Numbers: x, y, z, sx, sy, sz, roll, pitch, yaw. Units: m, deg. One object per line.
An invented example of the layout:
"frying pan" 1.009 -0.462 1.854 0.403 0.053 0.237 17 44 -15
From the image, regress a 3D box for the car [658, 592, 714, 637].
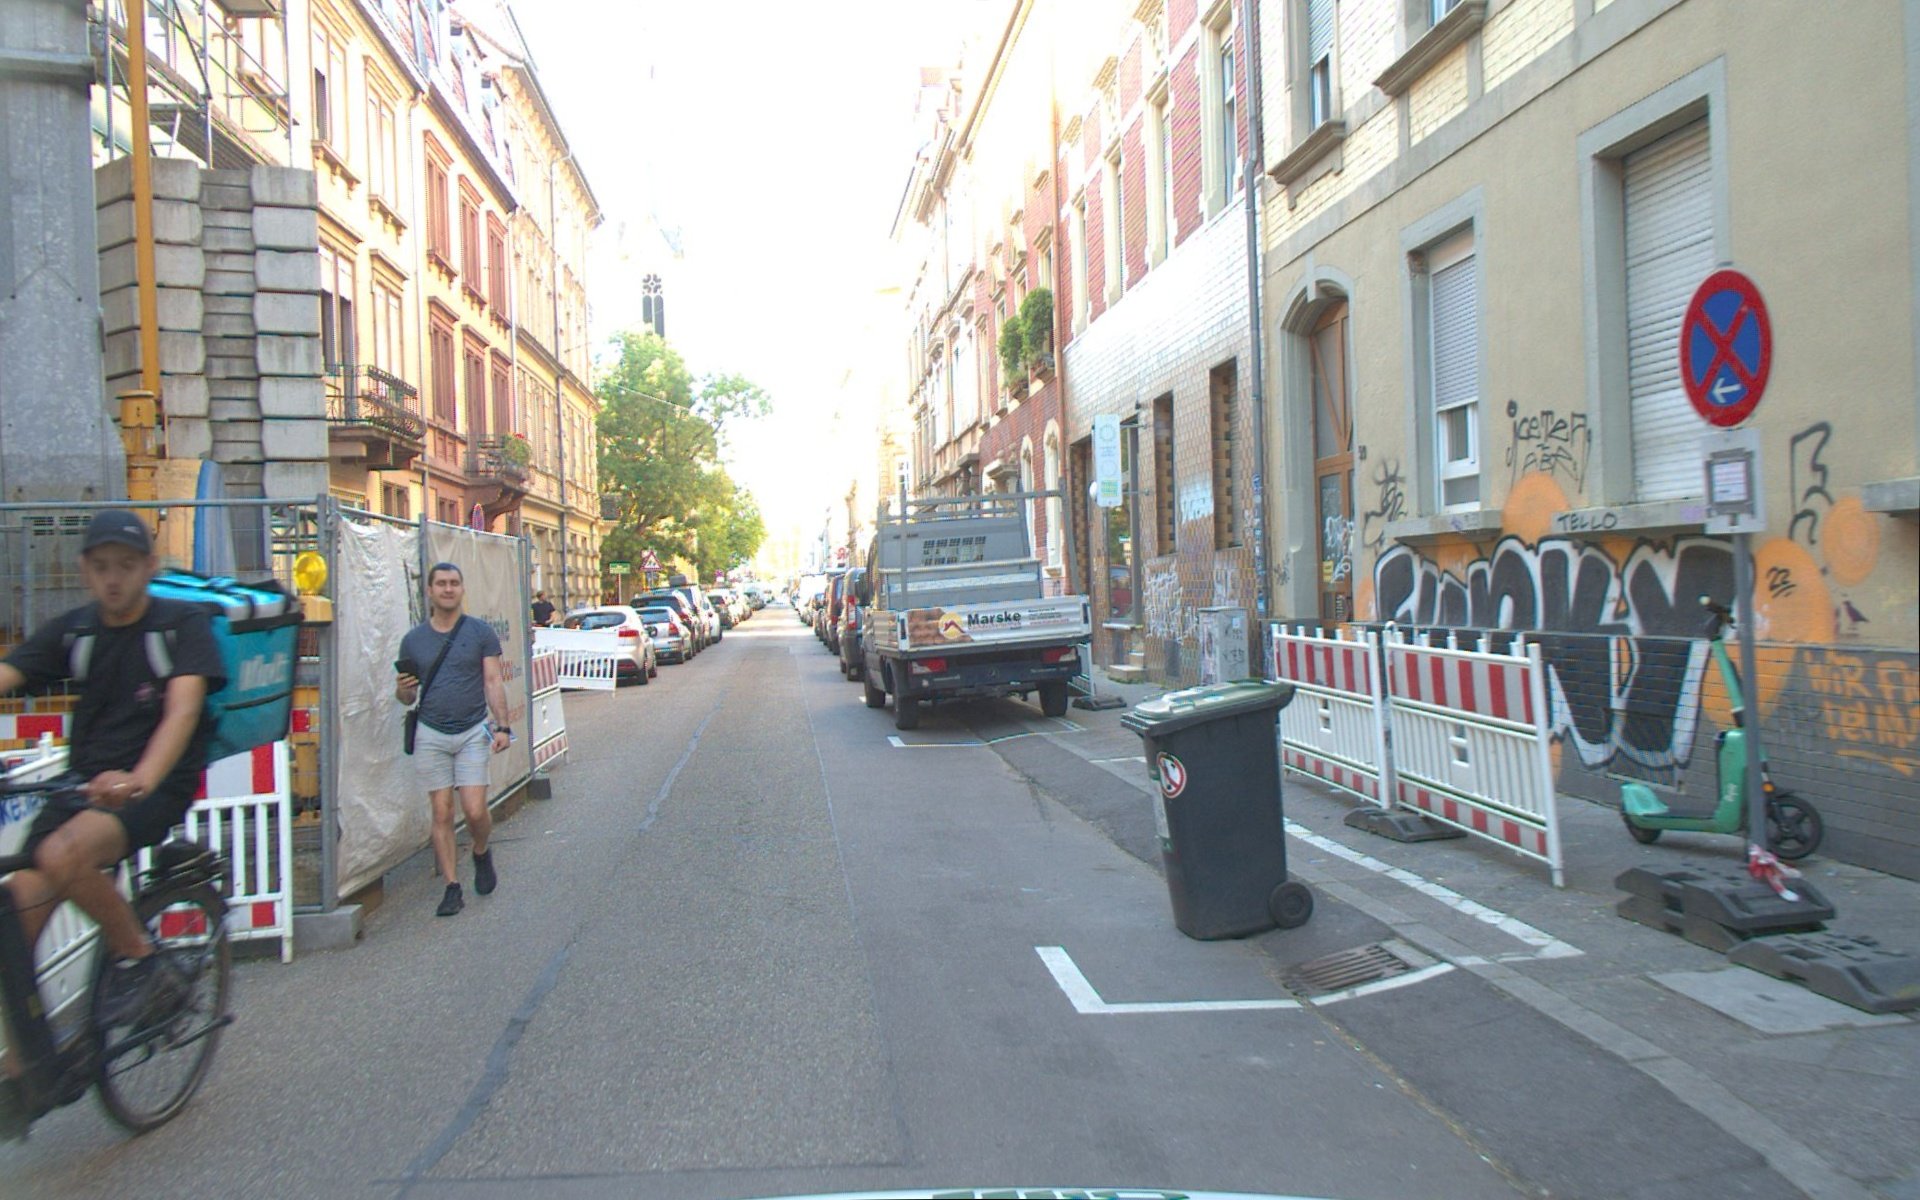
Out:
"car" -9.758 0.488 59.187 1.689 1.507 4.084 -1 0 -6

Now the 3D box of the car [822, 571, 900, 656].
"car" -2.617 0.314 42.849 1.797 2.049 4.736 -1 0 -6

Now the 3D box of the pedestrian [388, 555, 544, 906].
"pedestrian" -2.479 0.623 8.368 0.581 1.672 0.812 -1 0 -6

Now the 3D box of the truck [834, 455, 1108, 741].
"truck" -0.106 -0.044 20.042 2.109 2.702 6.241 -6 1 -9

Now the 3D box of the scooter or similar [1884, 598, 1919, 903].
"scooter or similar" 3.910 0.572 5.734 0.381 1.163 1.442 -6 1 -6

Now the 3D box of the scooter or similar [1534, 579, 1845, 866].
"scooter or similar" 3.501 0.552 8.063 0.448 1.230 1.437 -6 1 -18

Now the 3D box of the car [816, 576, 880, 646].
"car" -3.418 0.319 49.931 1.735 1.995 4.259 -1 0 -6

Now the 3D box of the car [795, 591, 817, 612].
"car" -11.626 0.098 125.041 1.572 1.531 3.996 -1 0 -5

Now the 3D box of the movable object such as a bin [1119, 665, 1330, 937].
"movable object such as a bin" 1.160 0.864 7.376 0.726 1.075 0.686 -3 0 -6

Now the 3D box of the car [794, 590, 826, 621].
"car" -8.616 0.296 94.662 1.773 1.719 4.209 0 0 -5

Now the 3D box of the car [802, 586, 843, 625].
"car" -6.689 0.263 80.176 1.672 1.744 3.931 -3 1 -8

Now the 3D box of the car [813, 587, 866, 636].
"car" -4.111 0.350 55.842 1.634 1.505 3.883 -2 1 -6

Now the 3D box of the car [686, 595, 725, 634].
"car" -11.936 0.654 77.630 1.708 1.675 4.281 -3 1 -8

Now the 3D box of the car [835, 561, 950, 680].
"car" -1.319 0.334 30.489 1.809 2.018 4.570 0 0 -6

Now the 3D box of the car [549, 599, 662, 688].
"car" -6.605 0.761 31.140 1.642 1.443 3.994 -4 1 -7

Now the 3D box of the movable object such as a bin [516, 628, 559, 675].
"movable object such as a bin" -9.094 1.099 35.628 0.748 0.948 1.412 -2 0 -10

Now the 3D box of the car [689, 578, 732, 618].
"car" -12.525 -0.102 83.138 1.810 1.894 4.460 -2 1 -5

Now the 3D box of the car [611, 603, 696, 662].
"car" -7.351 0.757 39.932 1.666 1.337 3.995 1 0 -6

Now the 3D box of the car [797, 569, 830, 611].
"car" -9.700 -0.653 109.325 2.028 2.656 5.880 -2 1 -6

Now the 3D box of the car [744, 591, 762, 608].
"car" -23.376 -0.087 186.429 1.841 1.827 3.992 -2 0 -9

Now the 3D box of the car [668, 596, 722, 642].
"car" -8.789 0.601 55.009 1.642 1.445 3.868 -1 0 -7

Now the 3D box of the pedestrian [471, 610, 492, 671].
"pedestrian" -10.491 0.886 36.261 0.386 1.329 0.430 -1 0 -12

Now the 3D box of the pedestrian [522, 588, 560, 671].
"pedestrian" -9.309 0.651 36.765 0.673 1.795 0.885 -3 0 -9

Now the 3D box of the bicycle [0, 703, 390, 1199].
"bicycle" -2.274 0.955 4.379 0.672 1.177 1.848 -4 0 5

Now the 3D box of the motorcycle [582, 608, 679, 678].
"motorcycle" -7.198 0.944 36.073 2.157 1.383 0.840 -4 1 42

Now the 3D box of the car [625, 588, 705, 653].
"car" -8.018 0.527 45.283 1.753 1.652 4.603 -1 0 -5

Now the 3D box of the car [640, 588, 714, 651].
"car" -8.581 0.554 50.512 1.856 1.816 4.602 -1 0 -6

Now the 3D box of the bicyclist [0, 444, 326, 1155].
"bicyclist" -2.296 0.491 4.474 0.651 1.706 0.893 -4 0 5

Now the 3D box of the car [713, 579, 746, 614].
"car" -14.596 -0.229 104.846 1.829 1.991 4.603 -4 1 -7

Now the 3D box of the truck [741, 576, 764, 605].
"truck" -25.385 -1.143 202.757 2.483 3.339 6.986 -2 0 -6

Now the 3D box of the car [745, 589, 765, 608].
"car" -20.373 -0.179 164.643 1.839 1.827 3.995 -2 0 -6
